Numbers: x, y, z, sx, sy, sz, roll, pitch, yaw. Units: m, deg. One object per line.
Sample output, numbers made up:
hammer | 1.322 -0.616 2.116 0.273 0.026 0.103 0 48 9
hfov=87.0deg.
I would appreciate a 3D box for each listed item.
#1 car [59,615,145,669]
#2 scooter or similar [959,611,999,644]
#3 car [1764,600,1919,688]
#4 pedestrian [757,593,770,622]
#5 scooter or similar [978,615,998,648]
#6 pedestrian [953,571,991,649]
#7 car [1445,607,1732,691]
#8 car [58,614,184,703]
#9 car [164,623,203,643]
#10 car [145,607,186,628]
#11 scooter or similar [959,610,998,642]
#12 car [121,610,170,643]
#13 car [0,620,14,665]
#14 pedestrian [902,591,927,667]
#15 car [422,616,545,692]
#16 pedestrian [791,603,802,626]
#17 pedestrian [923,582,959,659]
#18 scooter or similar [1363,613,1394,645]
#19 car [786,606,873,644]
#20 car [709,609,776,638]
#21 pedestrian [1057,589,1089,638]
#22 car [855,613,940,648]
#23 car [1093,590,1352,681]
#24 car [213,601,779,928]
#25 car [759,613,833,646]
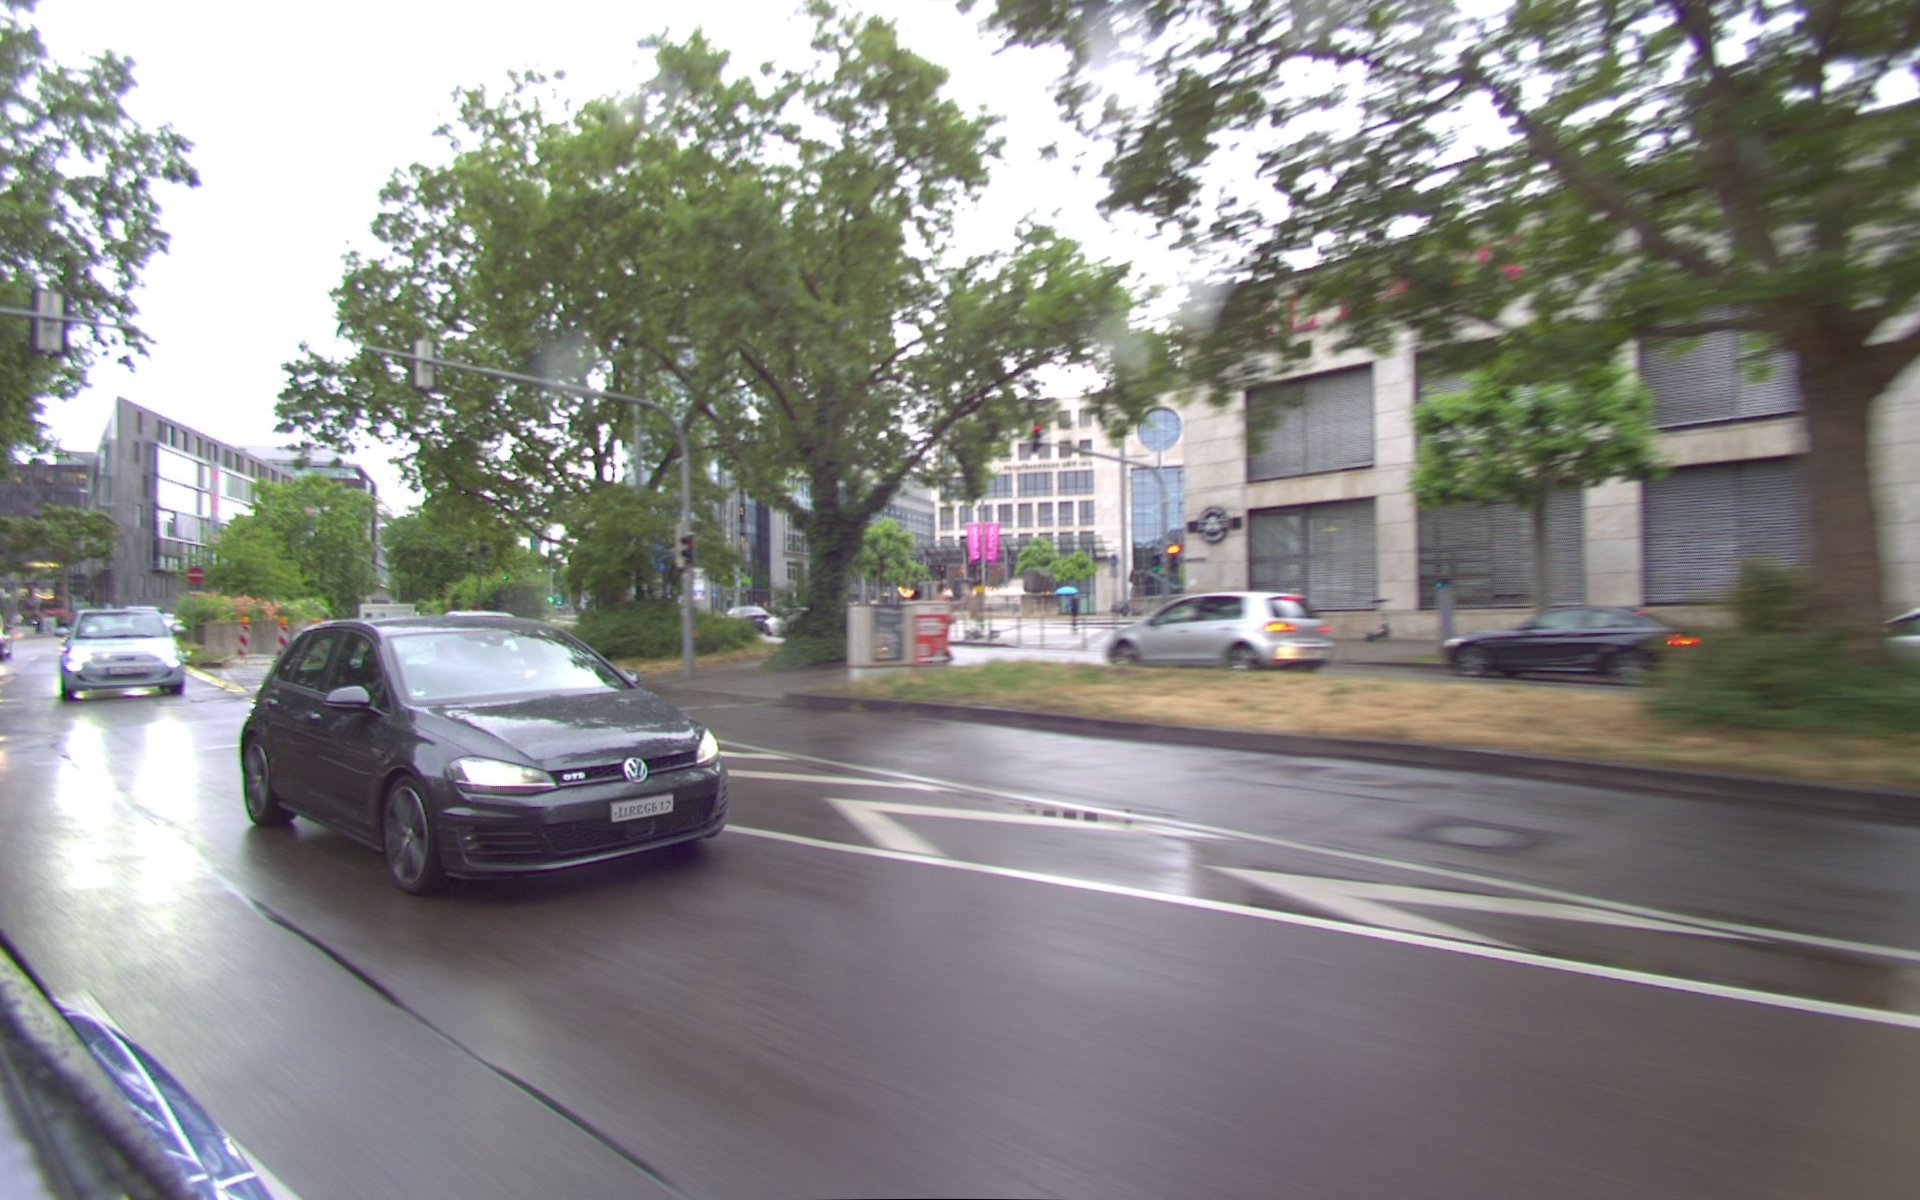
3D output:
car | -24.425 1.167 28.898 1.690 1.452 3.501 2 -2 -38
scooter or similar | 0.730 1.051 38.990 1.406 1.195 0.583 -2 0 -29
car | 16.221 0.714 16.736 1.724 1.426 4.303 0 0 -37
pedestrian | -12.445 0.449 64.017 0.737 1.803 0.424 -2 0 -11
scooter or similar | 1.062 1.166 37.849 0.438 1.134 1.606 -2 0 12
pedestrian | 0.262 0.218 21.640 0.636 1.626 0.607 -2 -1 17
car | 11.467 0.811 18.724 1.724 1.375 4.183 0 0 -38
car | -15.119 0.995 18.226 1.588 1.452 3.499 2 -2 -41
car | -72.516 3.088 94.569 1.965 1.757 3.922 -1 -1 -23
car | -69.114 1.526 88.122 1.965 1.757 3.922 -1 -1 -25
scooter or similar | 0.731 1.020 40.097 1.405 1.195 0.583 -2 0 -20
car | -46.153 1.494 57.309 1.969 1.757 3.915 0 -1 -41
car | -29.792 1.266 30.464 1.691 1.291 3.500 1 -1 -40
pedestrian | -0.981 0.624 21.855 0.420 1.626 0.553 -1 -1 7
car | -11.463 1.205 24.211 1.754 1.608 4.007 0 0 -39
pedestrian | -11.524 0.999 71.291 0.574 1.639 0.559 0 -1 18
pedestrian | -0.402 0.436 21.774 0.636 1.626 0.445 -2 -1 17
scooter or similar | 12.738 0.878 30.798 0.349 0.926 1.400 -2 -1 45
car | -6.115 1.101 46.888 1.967 1.664 4.738 0 0 -36
car | -12.301 1.283 57.023 1.980 1.545 4.723 0 0 -35
pedestrian | 4.585 0.541 41.067 0.581 1.938 1.126 -2 0 -43
car | -2.699 1.244 42.822 1.817 1.392 4.053 0 0 -34
car | 4.377 0.549 17.427 1.724 1.375 4.139 0 0 -38
car | -3.206 0.777 6.589 4.120 1.463 1.766 -1 -1 40
car | -8.386 1.466 51.499 1.980 1.545 4.447 0 0 -35
